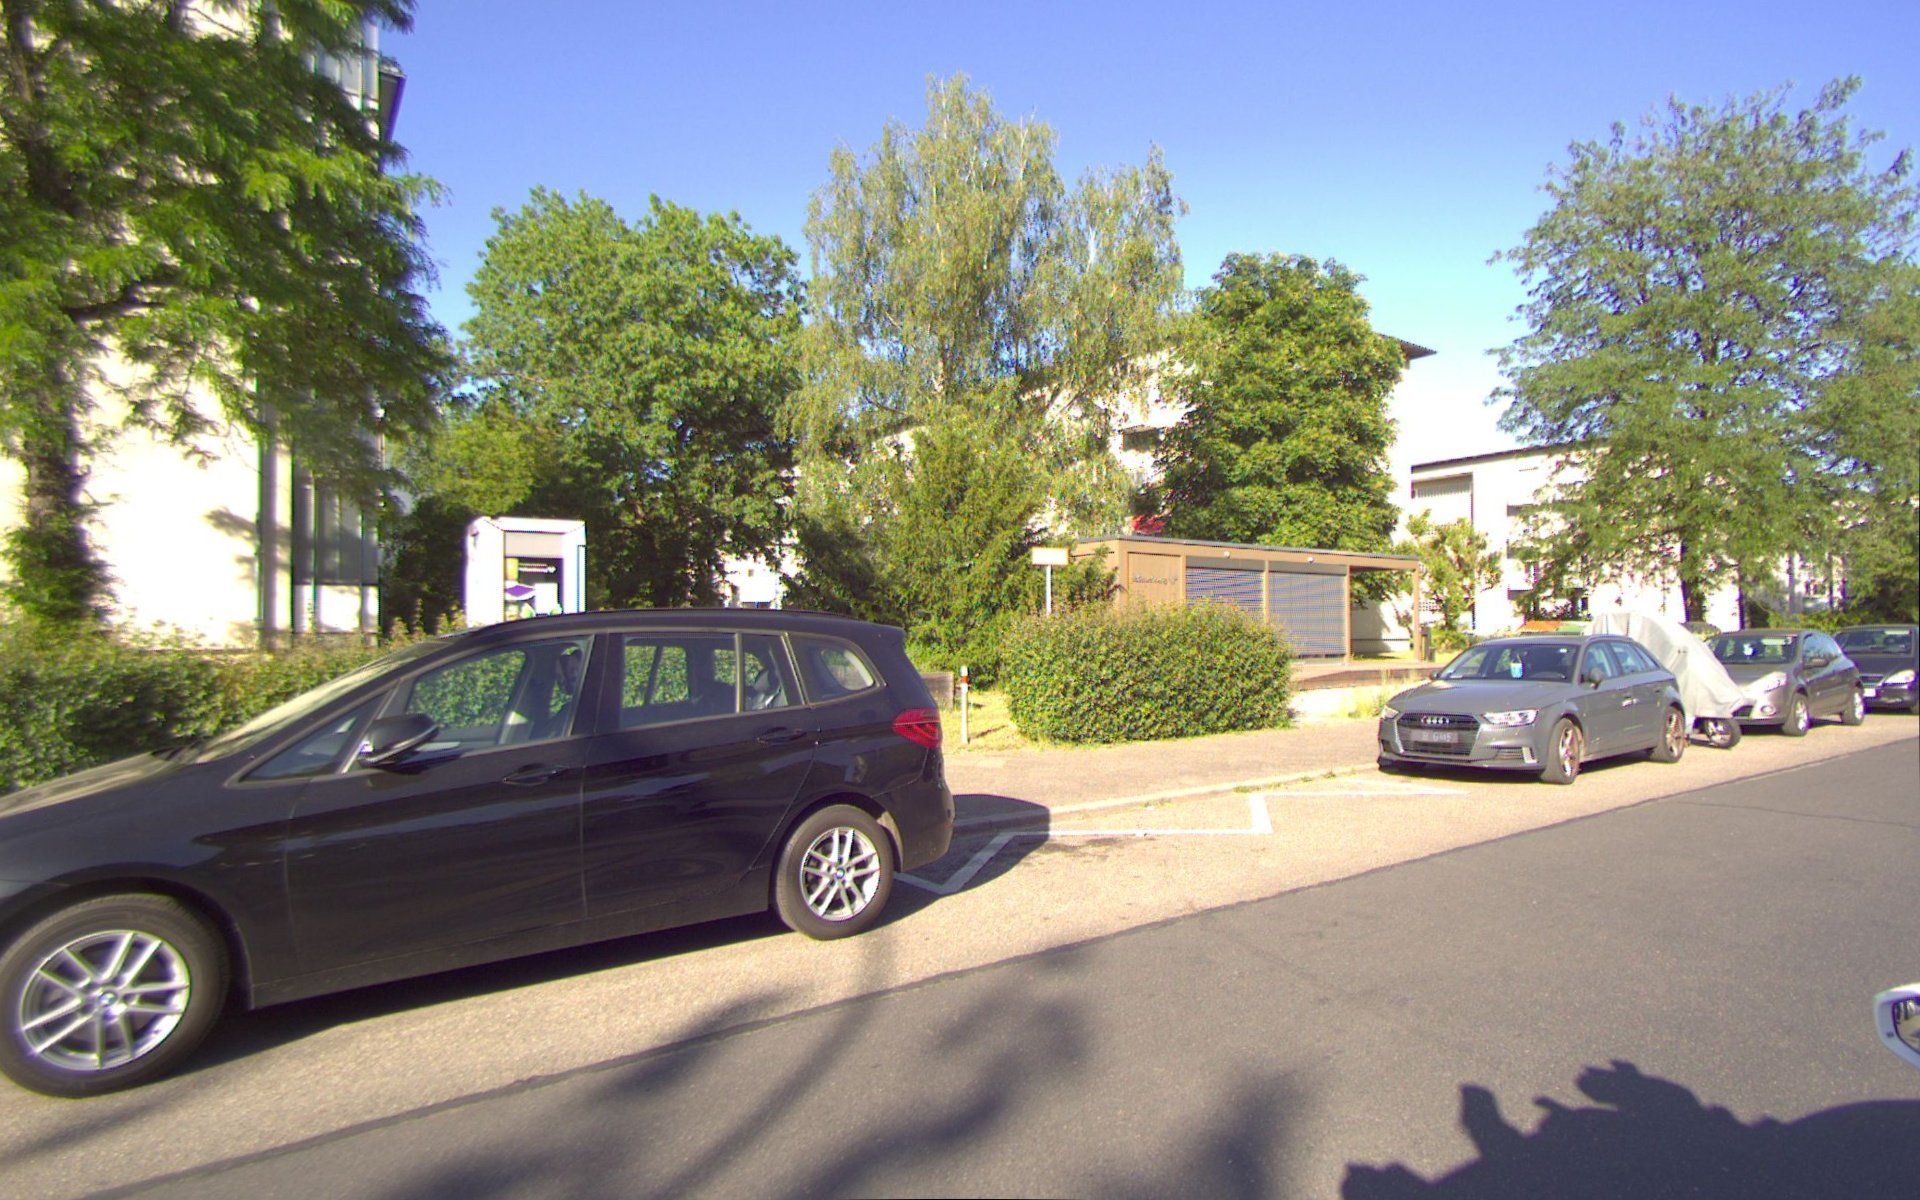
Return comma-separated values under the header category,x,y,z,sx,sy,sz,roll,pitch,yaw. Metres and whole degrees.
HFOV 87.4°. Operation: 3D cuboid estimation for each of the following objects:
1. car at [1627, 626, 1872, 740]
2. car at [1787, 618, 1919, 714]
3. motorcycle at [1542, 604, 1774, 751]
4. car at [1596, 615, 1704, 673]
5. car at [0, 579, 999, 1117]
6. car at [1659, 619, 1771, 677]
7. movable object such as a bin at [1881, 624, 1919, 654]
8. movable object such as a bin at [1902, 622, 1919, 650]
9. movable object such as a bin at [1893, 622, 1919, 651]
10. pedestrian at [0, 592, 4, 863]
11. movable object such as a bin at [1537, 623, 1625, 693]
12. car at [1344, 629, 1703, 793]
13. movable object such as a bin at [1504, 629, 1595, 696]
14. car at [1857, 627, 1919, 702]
category,x,y,z,sx,sy,sz,roll,pitch,yaw
car,11.973,1.180,15.174,3.918,1.500,1.744,1,-4,-34
car,17.003,1.185,18.607,3.685,1.594,1.742,1,-4,-37
motorcycle,9.037,1.001,13.116,0.924,1.749,2.240,1,-4,-37
car,21.023,1.292,30.558,3.963,1.663,1.559,1,-1,-38
car,-2.060,0.841,4.855,4.327,1.656,1.743,1,-4,-36
car,21.402,1.313,28.436,3.963,1.545,1.559,1,-1,-38
movable object such as a bin,47.299,1.931,50.471,1.447,1.440,1.170,1,1,-33
movable object such as a bin,50.208,1.897,52.416,1.447,1.440,1.170,1,1,-33
movable object such as a bin,48.951,1.866,51.591,1.447,1.440,1.170,1,1,-33
pedestrian,-6.071,0.790,5.858,0.594,1.701,0.716,1,-1,-35
movable object such as a bin,13.231,1.202,21.415,1.329,1.426,1.170,1,-1,-35
car,6.217,1.082,10.924,4.227,1.439,1.743,1,-4,-36
movable object such as a bin,12.090,1.250,20.602,1.329,1.305,1.170,1,-1,-35
car,21.099,1.341,21.642,4.494,1.500,1.742,1,-4,-37
